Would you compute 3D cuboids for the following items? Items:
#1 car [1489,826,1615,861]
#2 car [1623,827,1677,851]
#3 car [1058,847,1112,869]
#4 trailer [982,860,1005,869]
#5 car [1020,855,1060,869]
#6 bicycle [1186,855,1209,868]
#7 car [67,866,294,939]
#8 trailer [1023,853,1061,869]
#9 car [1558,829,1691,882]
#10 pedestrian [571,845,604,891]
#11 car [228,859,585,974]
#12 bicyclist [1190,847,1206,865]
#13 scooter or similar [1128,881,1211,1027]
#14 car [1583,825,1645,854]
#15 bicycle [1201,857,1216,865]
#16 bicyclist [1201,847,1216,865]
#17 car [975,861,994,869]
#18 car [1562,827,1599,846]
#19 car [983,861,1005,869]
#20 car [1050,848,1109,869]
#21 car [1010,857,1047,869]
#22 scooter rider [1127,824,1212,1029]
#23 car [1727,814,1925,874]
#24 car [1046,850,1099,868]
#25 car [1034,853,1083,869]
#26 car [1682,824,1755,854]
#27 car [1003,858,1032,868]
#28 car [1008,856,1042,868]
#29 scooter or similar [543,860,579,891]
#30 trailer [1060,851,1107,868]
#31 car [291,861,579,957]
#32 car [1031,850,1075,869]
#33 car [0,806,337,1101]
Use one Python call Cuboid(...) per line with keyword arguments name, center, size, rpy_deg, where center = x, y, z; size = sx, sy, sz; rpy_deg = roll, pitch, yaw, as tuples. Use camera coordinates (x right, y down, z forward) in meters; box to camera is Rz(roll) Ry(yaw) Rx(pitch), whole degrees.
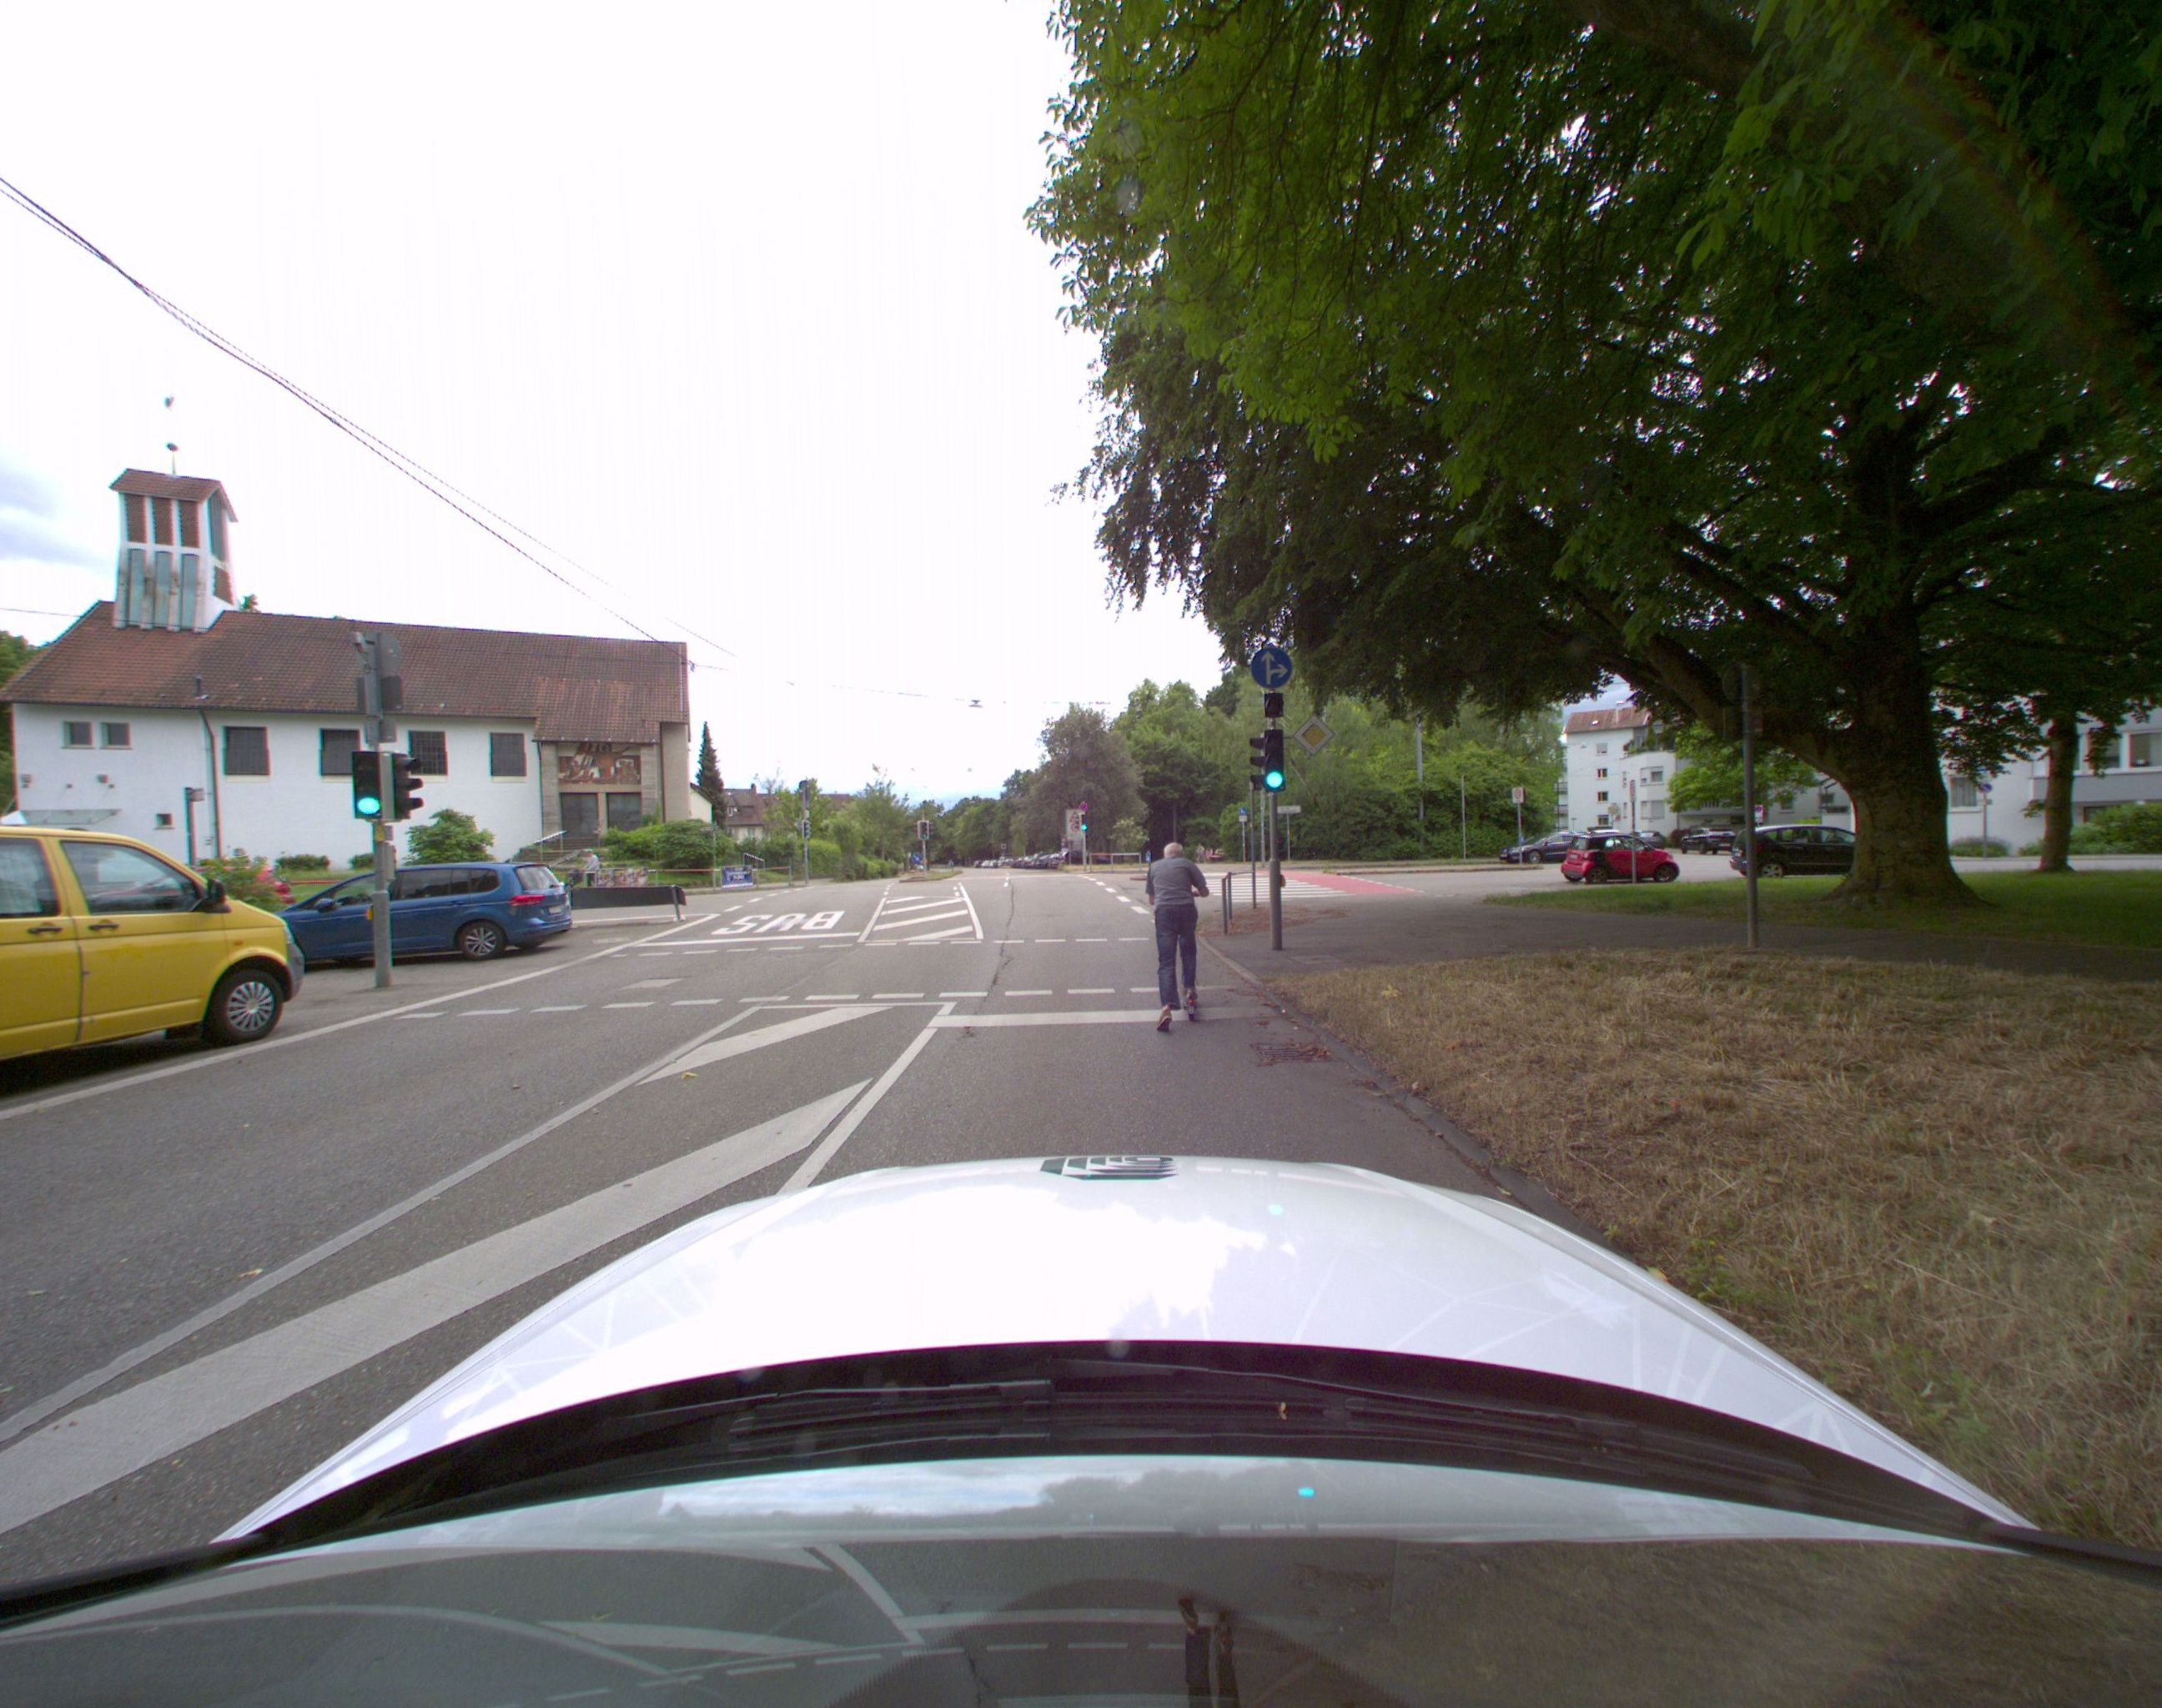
Cuboid(name="car", center=(21.945, -0.486, 38.043), size=(4.776, 1.439, 2.036), rpy_deg=(-2, 1, -5))
Cuboid(name="car", center=(39.222, -0.989, 56.255), size=(1.913, 1.545, 4.083), rpy_deg=(-2, 0, 18))
Cuboid(name="car", center=(0.274, 0.314, 59.412), size=(3.718, 1.476, 1.570), rpy_deg=(-1, 0, -12))
Cuboid(name="trailer", center=(-16.791, 1.966, 156.292), size=(4.179, 1.573, 1.696), rpy_deg=(-1, -1, -29))
Cuboid(name="car", center=(-4.448, 0.869, 88.717), size=(4.048, 1.327, 1.549), rpy_deg=(-1, -2, -18))
Cuboid(name="bicycle", center=(7.734, 0.494, 53.914), size=(0.633, 0.758, 1.691), rpy_deg=(1, 5, 45))
Cuboid(name="car", center=(-22.593, 1.135, 20.638), size=(1.753, 1.489, 3.707), rpy_deg=(-1, 2, 44))
Cuboid(name="trailer", center=(-4.171, 0.741, 86.448), size=(3.702, 1.535, 1.634), rpy_deg=(-1, -1, -21))
Cuboid(name="car", center=(16.344, 0.028, 24.605), size=(2.896, 1.506, 1.699), rpy_deg=(-1, 2, 6))
Cuboid(name="pedestrian", center=(-18.209, 0.503, 30.042), size=(0.680, 1.653, 0.836), rpy_deg=(-1, -1, 33))
Cuboid(name="car", center=(-11.082, 0.955, 13.748), size=(4.169, 1.546, 1.838), rpy_deg=(-2, 1, -12))
Cuboid(name="bicyclist", center=(7.737, 0.122, 53.903), size=(0.633, 1.161, 0.808), rpy_deg=(1, 5, 45))
Cuboid(name="scooter or similar", center=(0.858, 0.876, 7.606), size=(0.677, 1.139, 1.463), rpy_deg=(-1, 1, 9))
Cuboid(name="car", center=(28.716, -0.764, 43.998), size=(1.788, 1.487, 3.686), rpy_deg=(-2, 0, 16))
Cuboid(name="bicycle", center=(8.643, 0.470, 55.194), size=(0.513, 0.497, 0.994), rpy_deg=(-4, -2, 40))
Cuboid(name="bicyclist", center=(8.620, 0.126, 55.214), size=(0.513, 1.187, 0.973), rpy_deg=(-4, -2, 40))
Cuboid(name="car", center=(-20.947, 2.390, 176.856), size=(3.908, 1.429, 1.727), rpy_deg=(-1, -1, -29))
Cuboid(name="car", center=(44.621, -1.543, 72.868), size=(1.913, 1.545, 4.083), rpy_deg=(-2, 0, 18))
Cuboid(name="car", center=(-16.957, 2.117, 158.980), size=(3.912, 1.309, 1.725), rpy_deg=(-1, -1, -34))
Cuboid(name="car", center=(-0.099, 0.334, 61.809), size=(4.149, 1.476, 1.566), rpy_deg=(-1, -1, -20))
Cuboid(name="car", center=(-6.732, 1.123, 104.244), size=(4.331, 1.341, 1.720), rpy_deg=(-1, -1, -23))
Cuboid(name="scooter rider", center=(0.839, 0.603, 7.476), size=(0.677, 1.730, 1.200), rpy_deg=(-1, 1, 9))
Cuboid(name="car", center=(20.936, -0.248, 23.098), size=(3.778, 1.591, 1.829), rpy_deg=(-1, 0, 26))
Cuboid(name="car", center=(-0.771, 0.443, 69.696), size=(4.231, 1.464, 1.625), rpy_deg=(-1, -1, -18))
Cuboid(name="car", center=(-2.112, 0.660, 76.400), size=(4.174, 1.407, 1.686), rpy_deg=(-1, -1, -20))
Cuboid(name="car", center=(36.032, -0.836, 46.147), size=(1.913, 1.545, 4.083), rpy_deg=(-2, 0, 18))
Cuboid(name="car", center=(-9.575, 1.359, 122.008), size=(3.983, 1.405, 1.742), rpy_deg=(-1, -1, -24))
Cuboid(name="car", center=(-7.355, 1.059, 107.015), size=(4.099, 1.515, 1.716), rpy_deg=(-2, -1, -32))
Cuboid(name="scooter or similar", center=(-18.702, 0.773, 29.299), size=(0.604, 1.095, 0.895), rpy_deg=(-1, -1, 32))
Cuboid(name="trailer", center=(0.167, 0.453, 64.906), size=(3.412, 1.267, 1.606), rpy_deg=(-2, -1, -19))
Cuboid(name="car", center=(-12.290, 0.982, 15.816), size=(3.902, 1.472, 1.835), rpy_deg=(-2, 1, -18))
Cuboid(name="car", center=(-2.732, 0.506, 79.017), size=(3.997, 1.725, 1.670), rpy_deg=(-1, -1, -19))
Cuboid(name="car", center=(-8.304, 0.707, 5.740), size=(1.913, 1.989, 4.792), rpy_deg=(-2, 0, -5))
